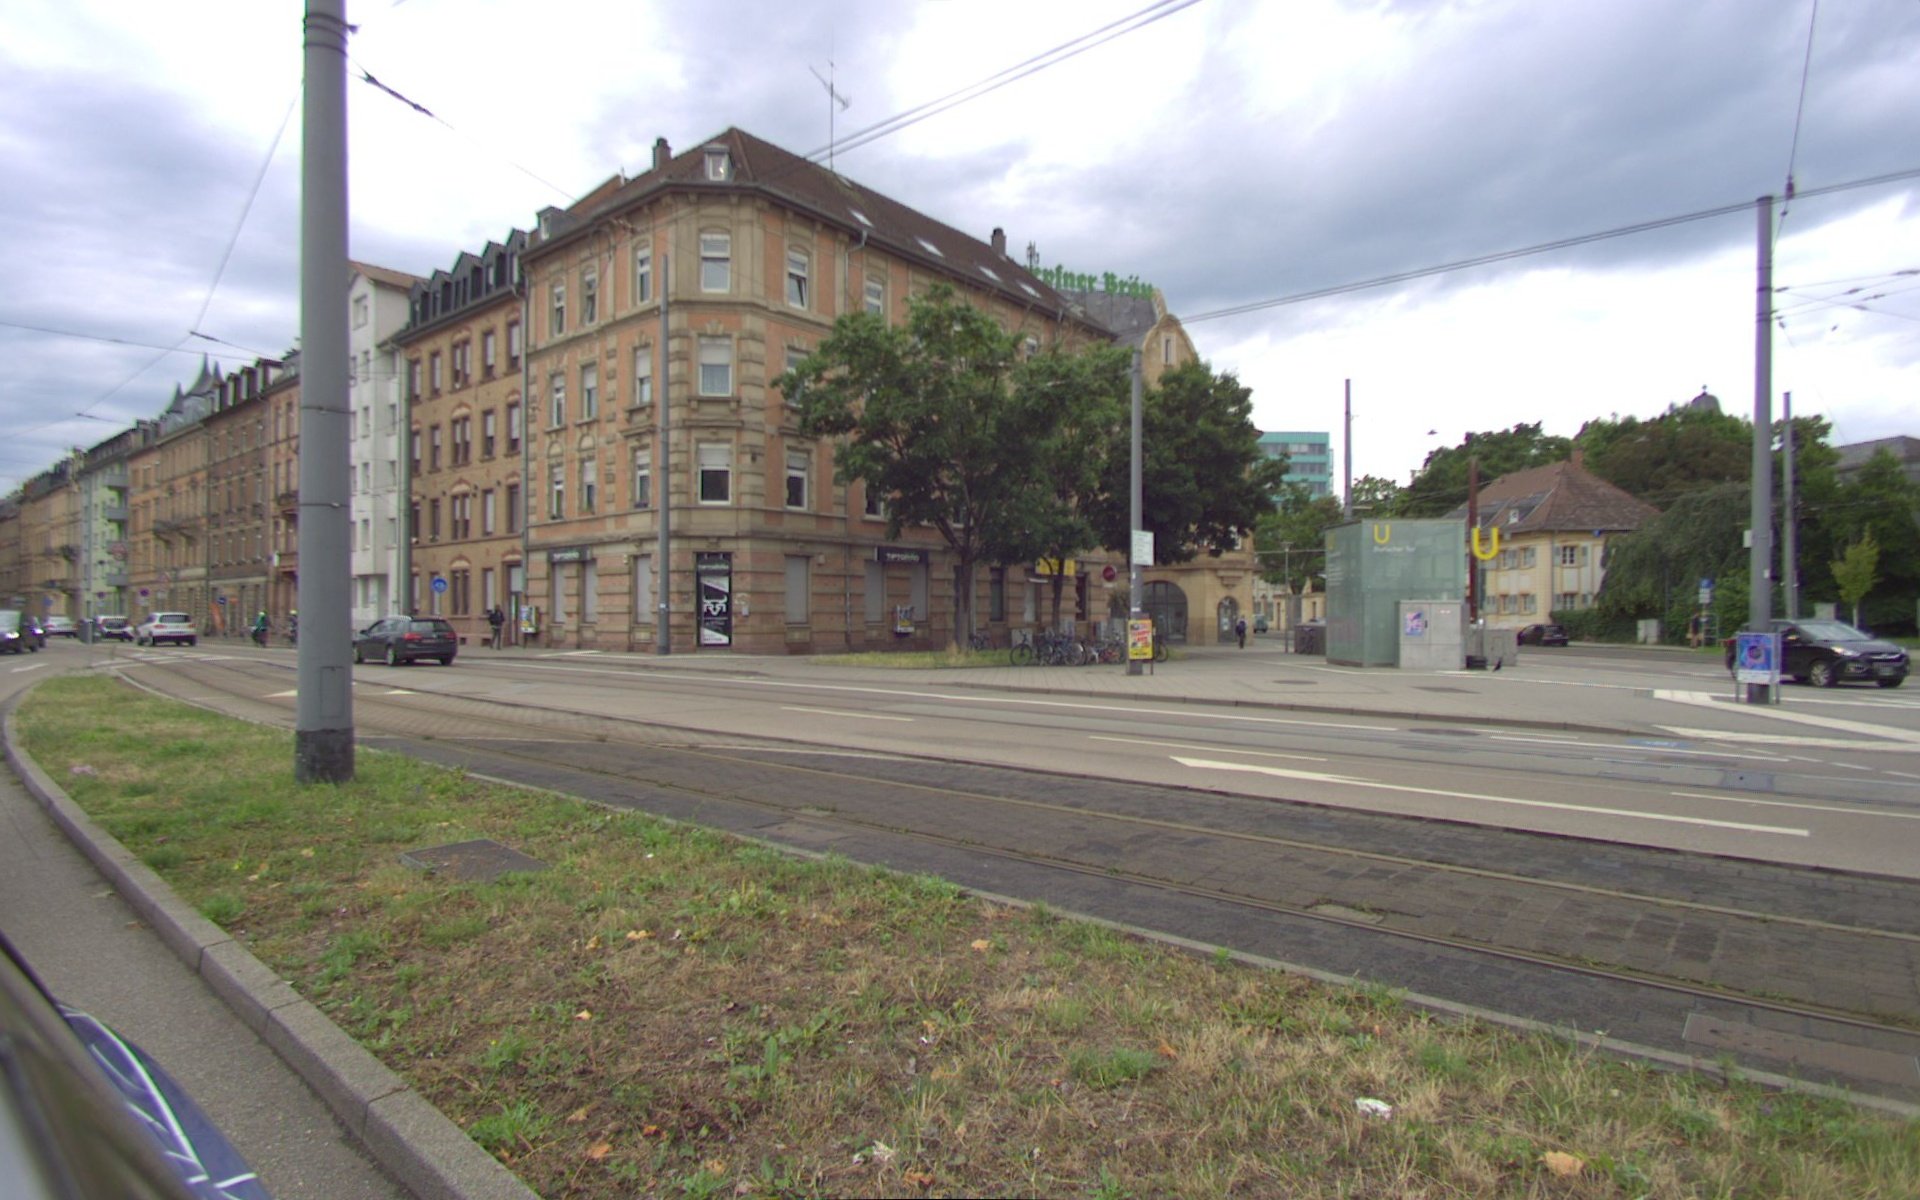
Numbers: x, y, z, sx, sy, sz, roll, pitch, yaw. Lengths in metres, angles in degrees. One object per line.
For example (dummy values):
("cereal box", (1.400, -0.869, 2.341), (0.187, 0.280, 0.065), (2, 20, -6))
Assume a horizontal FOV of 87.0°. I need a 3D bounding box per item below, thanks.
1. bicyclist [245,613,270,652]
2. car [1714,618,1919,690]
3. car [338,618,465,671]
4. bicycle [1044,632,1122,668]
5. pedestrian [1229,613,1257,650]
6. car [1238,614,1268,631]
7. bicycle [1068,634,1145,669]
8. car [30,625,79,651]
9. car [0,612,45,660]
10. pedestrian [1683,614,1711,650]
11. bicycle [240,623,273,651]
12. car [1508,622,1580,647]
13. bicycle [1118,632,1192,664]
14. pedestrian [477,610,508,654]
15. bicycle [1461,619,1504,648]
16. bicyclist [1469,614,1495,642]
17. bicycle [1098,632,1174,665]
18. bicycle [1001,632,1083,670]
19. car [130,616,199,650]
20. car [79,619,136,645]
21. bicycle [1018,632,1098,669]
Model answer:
("bicyclist", (-34.442, 1.565, 49.613), (0.923, 1.881, 0.813), (-1, -1, 41))
("car", (21.575, 1.276, 25.324), (1.969, 1.623, 4.250), (0, -1, -6))
("car", (-17.003, 1.292, 30.745), (4.459, 1.481, 1.865), (-1, -1, 39))
("bicycle", (3.775, 1.512, 31.190), (2.395, 1.038, 0.744), (-1, -1, 41))
("pedestrian", (14.798, 1.653, 52.850), (1.083, 1.911, 1.139), (-1, -1, 34))
("car", (31.689, 2.415, 109.670), (1.971, 1.863, 4.001), (0, -1, -2))
("bicycle", (4.598, 1.592, 31.910), (2.395, 1.038, 0.744), (-1, -1, 41))
("car", (-61.938, 2.566, 69.200), (4.229, 1.715, 1.873), (-1, -1, 39))
("car", (-37.277, 1.356, 39.246), (5.131, 1.768, 2.340), (-1, -2, 44))
("pedestrian", (38.645, 1.660, 53.099), (0.798, 1.846, 0.850), (0, -1, -3))
("bicycle", (-34.617, 1.812, 49.774), (2.410, 1.302, 0.788), (-1, -1, 41))
("car", (35.619, 2.092, 61.874), (1.971, 1.442, 4.001), (0, -1, -2))
("bicycle", (6.544, 1.593, 34.046), (2.395, 1.038, 0.744), (-1, -1, 41))
("pedestrian", (-18.251, 1.233, 39.524), (0.797, 1.688, 0.802), (-1, -1, 37))
("bicycle", (33.380, 2.121, 64.724), (1.070, 1.763, 3.087), (0, -1, -2))
("bicyclist", (33.388, 1.778, 64.780), (1.077, 1.796, 1.017), (0, -1, -2))
("bicycle", (5.729, 1.566, 33.054), (2.395, 1.038, 0.744), (-1, -1, 41))
("bicycle", (2.389, 1.472, 29.728), (2.395, 1.038, 0.826), (-1, -1, 41))
("car", (-39.458, 1.606, 50.142), (4.226, 1.658, 1.812), (-1, -1, 39))
("car", (-49.372, 1.805, 58.601), (4.013, 1.442, 1.792), (-1, -1, 39))
("bicycle", (2.915, 1.483, 30.330), (2.395, 1.038, 0.744), (-1, -1, 41))
